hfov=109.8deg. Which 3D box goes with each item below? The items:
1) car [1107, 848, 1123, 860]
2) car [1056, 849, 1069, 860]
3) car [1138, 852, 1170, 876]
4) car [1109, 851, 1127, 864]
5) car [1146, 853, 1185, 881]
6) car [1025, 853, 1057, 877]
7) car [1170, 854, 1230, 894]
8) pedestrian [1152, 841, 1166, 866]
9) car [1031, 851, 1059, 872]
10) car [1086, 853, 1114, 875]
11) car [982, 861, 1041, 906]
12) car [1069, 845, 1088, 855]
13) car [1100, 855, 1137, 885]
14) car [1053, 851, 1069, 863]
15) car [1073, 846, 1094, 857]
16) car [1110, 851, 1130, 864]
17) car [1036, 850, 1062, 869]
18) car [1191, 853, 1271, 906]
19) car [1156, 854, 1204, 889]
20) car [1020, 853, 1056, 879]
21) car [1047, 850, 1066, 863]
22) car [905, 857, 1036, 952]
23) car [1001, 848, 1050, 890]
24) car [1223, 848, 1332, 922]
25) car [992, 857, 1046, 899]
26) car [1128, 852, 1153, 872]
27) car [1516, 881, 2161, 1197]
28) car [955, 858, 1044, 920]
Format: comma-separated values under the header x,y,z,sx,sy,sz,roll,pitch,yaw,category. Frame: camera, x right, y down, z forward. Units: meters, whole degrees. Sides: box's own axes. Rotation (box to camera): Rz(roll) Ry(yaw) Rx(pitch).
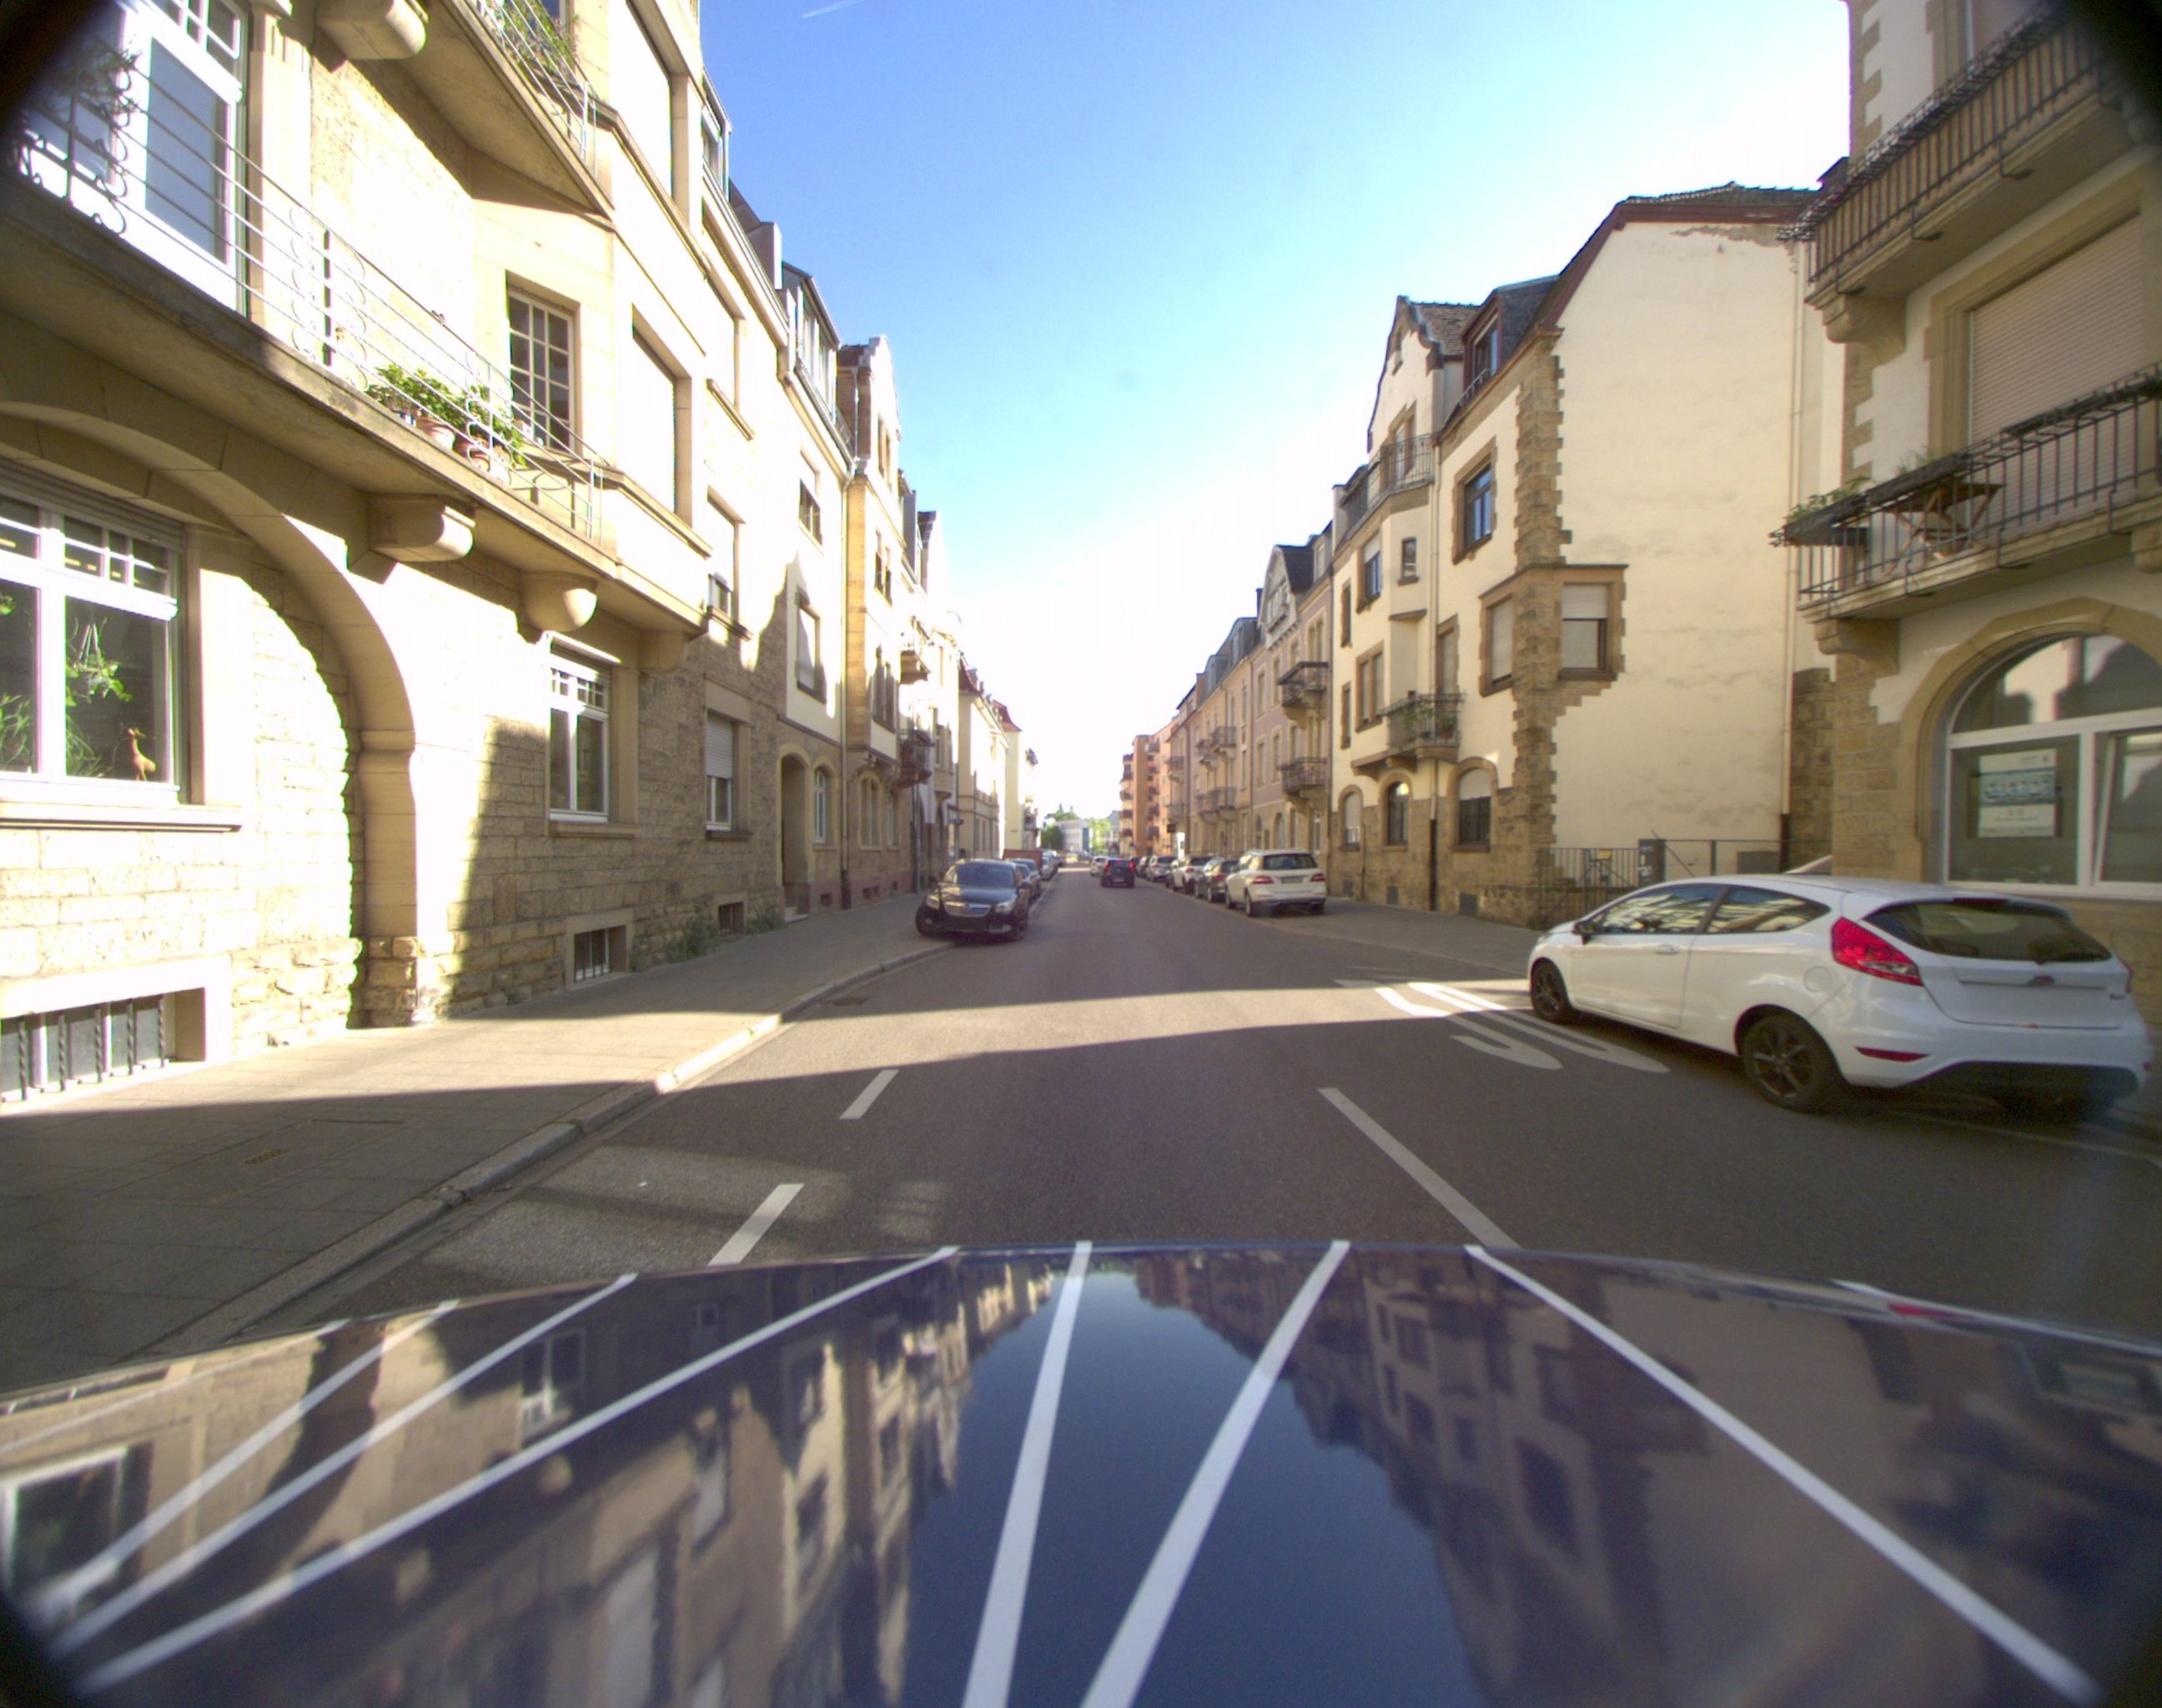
x,y,z,sx,sy,sz,roll,pitch,yaw,category
4.537,0.001,102.002,2.005,1.500,4.320,1,1,-1,car
-2.944,0.068,123.335,2.005,1.722,4.320,1,1,-1,car
4.990,0.668,52.350,1.809,1.500,4.003,-2,1,1,car
4.620,0.391,96.205,2.005,1.500,4.320,1,1,-1,car
5.019,0.733,45.831,1.890,1.500,4.320,-2,1,1,car
-2.750,0.737,52.640,2.005,1.500,4.320,1,1,-1,car
4.983,0.794,32.365,1.890,1.500,4.320,-2,1,1,car
6.476,-0.037,63.138,0.952,2.002,1.066,-2,1,0,pedestrian
-2.747,0.536,58.665,2.005,1.500,4.320,1,1,-1,car
1.366,0.718,55.766,1.703,1.474,3.533,1,0,-4,car
-2.235,0.927,25.377,1.661,1.272,3.729,1,1,-1,car
-0.580,-0.902,169.832,3.999,2.002,1.999,-2,1,-6,car
1.889,0.788,38.777,1.656,1.449,3.642,0,1,-1,car
-2.586,0.431,99.952,2.005,1.500,4.320,1,1,-1,car
0.502,-0.510,148.718,3.997,2.002,2.000,-2,1,0,car
4.670,0.408,91.391,2.005,1.500,4.320,1,1,-1,car
-2.674,0.452,64.498,2.005,1.500,4.320,1,1,-1,car
5.121,0.820,26.544,1.890,1.500,4.320,-4,1,1,car
4.854,0.817,37.805,1.857,1.491,4.318,-2,1,1,car
-2.655,0.718,47.866,2.005,1.500,4.320,1,1,-1,car
-2.847,0.266,88.978,2.005,1.500,4.320,1,1,-1,car
-2.038,0.882,15.223,2.024,1.500,4.111,2,1,-1,car
-2.561,0.650,35.809,2.005,1.828,4.320,1,1,-1,car
5.194,0.752,20.693,1.890,1.717,4.211,-2,1,1,car
-2.386,0.891,30.119,1.824,1.415,4.320,1,1,-1,car
4.891,0.641,62.972,1.793,1.500,4.320,-2,1,1,car
5.111,1.015,5.698,1.656,1.449,3.643,2,0,2,car
-2.098,0.874,20.798,2.005,1.499,4.321,1,0,-1,car
